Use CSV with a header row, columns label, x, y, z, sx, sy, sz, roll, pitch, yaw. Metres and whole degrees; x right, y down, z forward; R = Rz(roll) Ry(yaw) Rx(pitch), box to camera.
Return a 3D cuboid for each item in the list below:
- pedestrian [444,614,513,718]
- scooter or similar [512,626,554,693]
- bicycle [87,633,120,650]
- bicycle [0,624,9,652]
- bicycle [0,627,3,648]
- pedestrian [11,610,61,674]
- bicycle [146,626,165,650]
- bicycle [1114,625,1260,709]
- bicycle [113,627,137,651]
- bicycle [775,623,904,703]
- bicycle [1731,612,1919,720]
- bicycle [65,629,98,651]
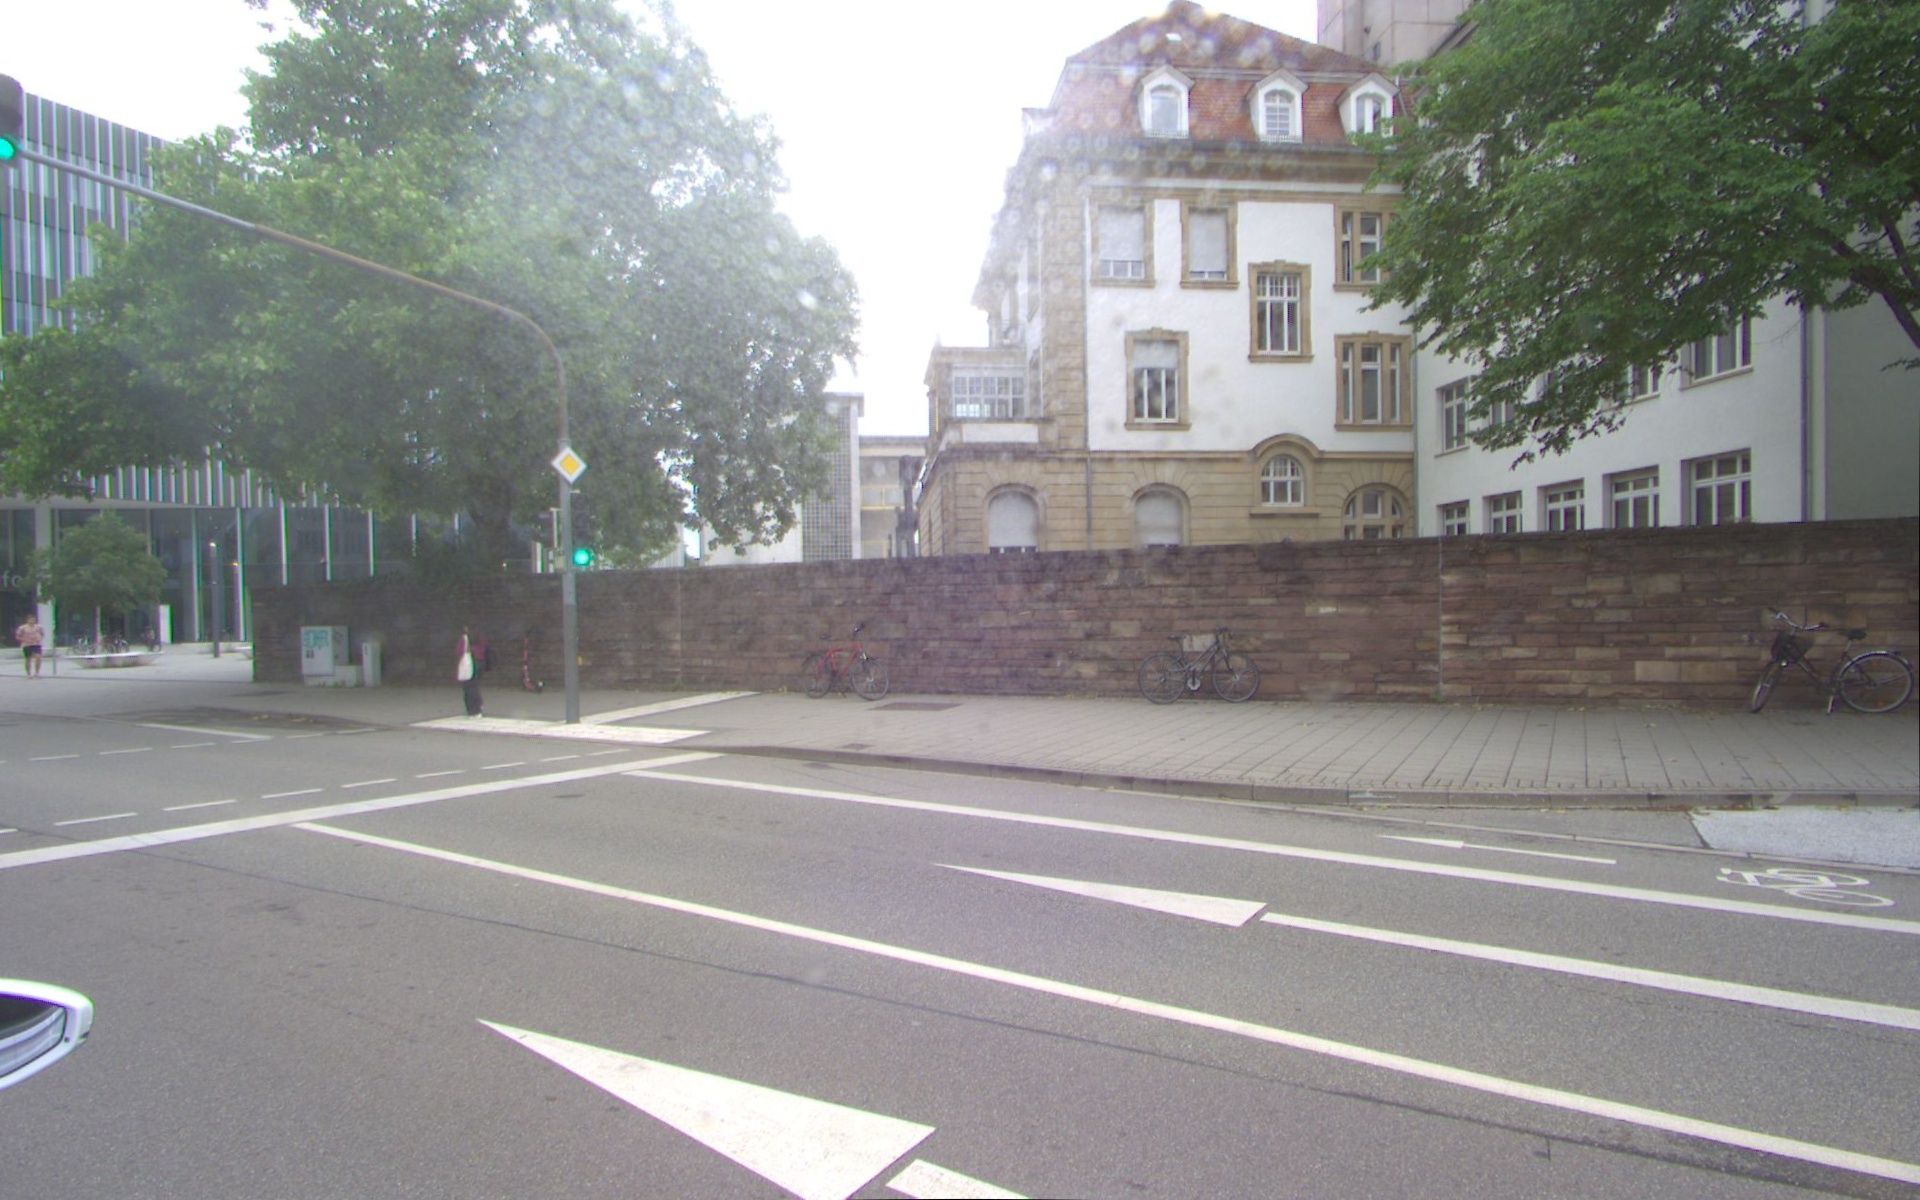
label,x,y,z,sx,sy,sz,roll,pitch,yaw
pedestrian,-7.743,1.046,16.116,0.627,1.584,0.658,0,5,32
scooter or similar,-8.356,1.131,19.545,0.427,1.195,1.693,-3,2,-33
bicycle,-41.611,2.009,48.678,0.510,0.726,1.525,-1,1,-11
bicycle,-46.269,1.825,48.201,0.522,1.270,1.652,-3,2,-39
bicycle,-48.432,1.906,49.934,0.613,1.060,1.696,-2,2,-31
pedestrian,-26.816,1.211,29.063,0.756,1.789,0.845,0,2,32
bicycle,-39.223,1.826,48.837,0.616,1.070,1.933,-2,2,-38
bicycle,3.233,0.932,14.181,1.934,1.088,0.941,-1,2,17
bicycle,-40.474,1.865,48.557,0.802,1.070,1.933,-2,2,-38
bicycle,-1.965,0.988,16.301,1.923,1.190,0.802,-1,3,27
bicycle,10.189,0.744,11.526,1.889,1.143,0.849,-1,2,17
bicycle,-42.412,1.934,48.354,0.686,0.959,1.975,-2,1,-27
